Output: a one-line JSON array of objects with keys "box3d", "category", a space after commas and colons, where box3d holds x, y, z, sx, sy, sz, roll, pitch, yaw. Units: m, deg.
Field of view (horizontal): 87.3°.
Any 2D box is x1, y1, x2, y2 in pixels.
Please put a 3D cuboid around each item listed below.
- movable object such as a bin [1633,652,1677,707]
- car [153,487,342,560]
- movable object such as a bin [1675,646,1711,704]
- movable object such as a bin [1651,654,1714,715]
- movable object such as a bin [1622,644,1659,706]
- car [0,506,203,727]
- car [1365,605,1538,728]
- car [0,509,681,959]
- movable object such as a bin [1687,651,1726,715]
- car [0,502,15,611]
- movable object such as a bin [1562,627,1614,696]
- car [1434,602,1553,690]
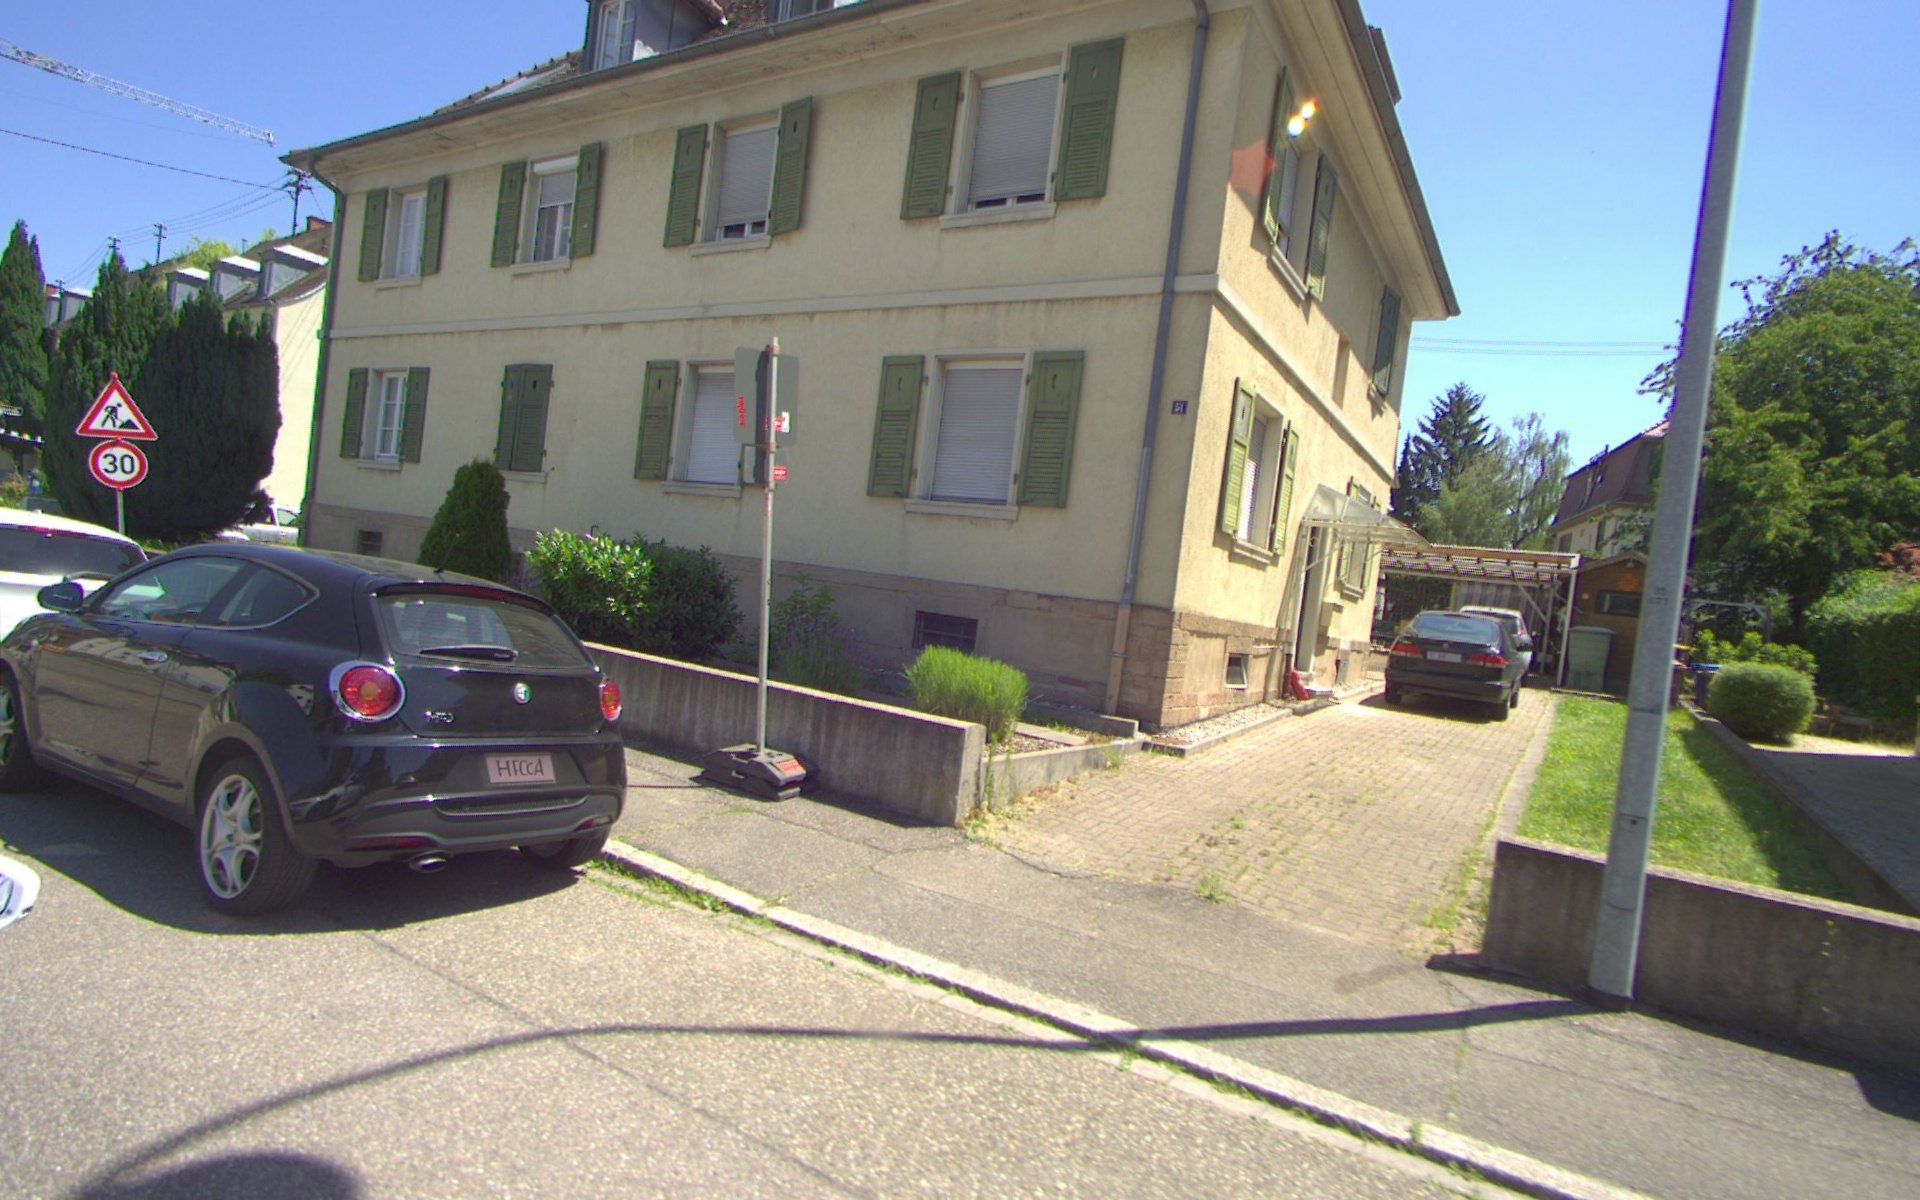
[{"box3d": [13.250, 1.504, 19.168, 0.581, 0.939, 0.555, 7, 4, 36], "category": "movable object such as a bin"}, {"box3d": [-17.036, -1.805, 24.155, 1.588, 1.474, 3.397, 8, 5, 38], "category": "car"}, {"box3d": [14.334, 1.460, 19.673, 0.465, 1.071, 0.479, 6, 4, 36], "category": "movable object such as a bin"}, {"box3d": [12.577, 1.458, 17.522, 0.721, 0.938, 0.556, 7, 2, 28], "category": "movable object such as a bin"}, {"box3d": [12.609, 1.387, 18.638, 0.465, 1.071, 0.479, 6, 4, 36], "category": "movable object such as a bin"}, {"box3d": [-7.928, -0.050, 7.918, 3.933, 1.452, 1.670, 7, -2, 31], "category": "car"}, {"box3d": [7.592, 0.916, 15.341, 1.770, 1.411, 3.985, 8, 3, 32], "category": "car"}, {"box3d": [-3.549, 0.455, 5.284, 3.932, 1.447, 1.600, 6, -2, 30], "category": "car"}, {"box3d": [13.547, 1.497, 18.265, 0.465, 1.071, 0.479, 6, 4, 36], "category": "movable object such as a bin"}, {"box3d": [-12.065, -0.560, 10.785, 3.932, 1.483, 1.670, 7, -1, 30], "category": "car"}, {"box3d": [12.440, 1.210, 19.933, 0.721, 1.270, 0.555, 7, 3, 34], "category": "movable object such as a bin"}, {"box3d": [11.430, 0.922, 21.425, 1.770, 1.496, 3.985, 8, 4, 32], "category": "car"}]
